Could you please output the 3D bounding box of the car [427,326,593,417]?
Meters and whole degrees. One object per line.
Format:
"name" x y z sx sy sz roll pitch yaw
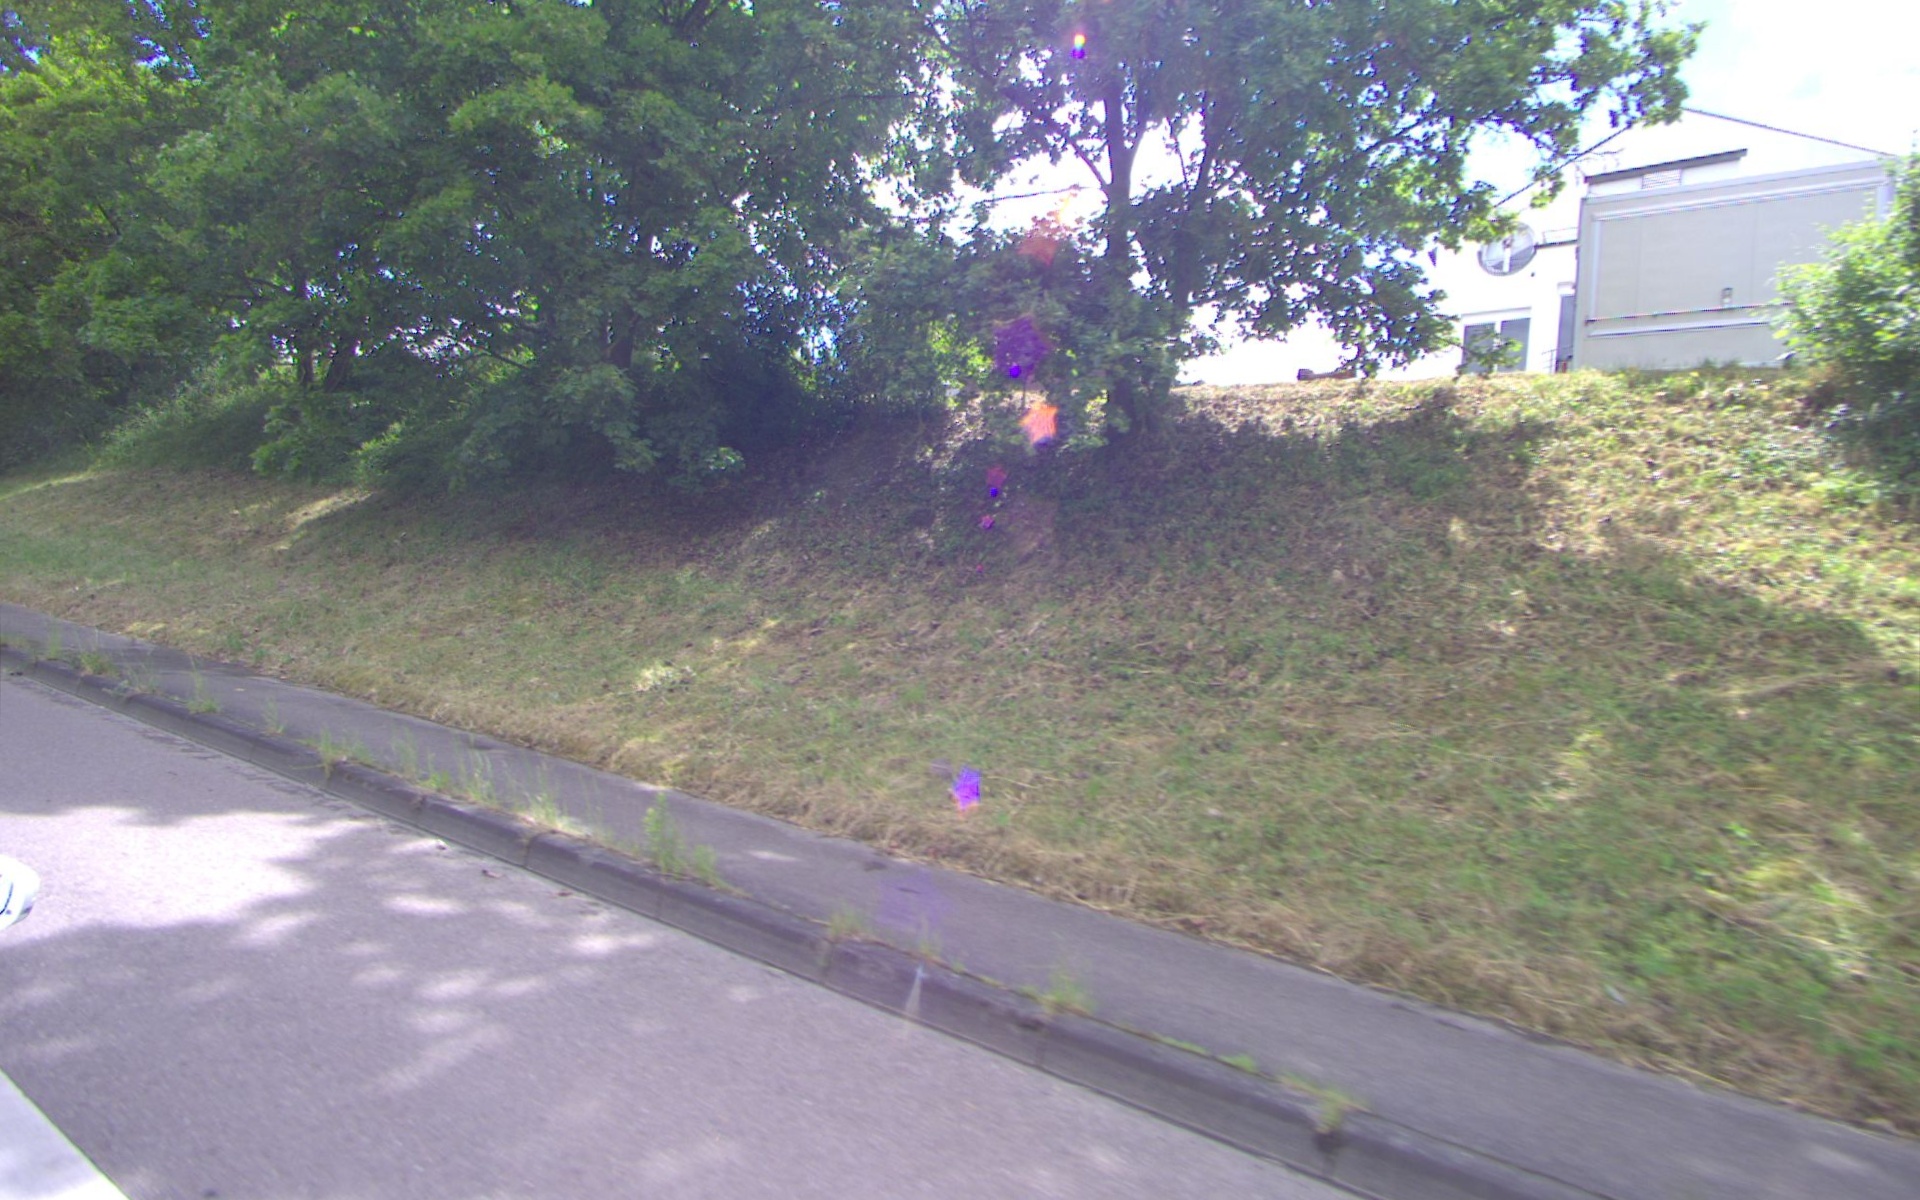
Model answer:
"car" -11.227 -5.607 25.026 3.976 1.707 1.647 7 -1 31
